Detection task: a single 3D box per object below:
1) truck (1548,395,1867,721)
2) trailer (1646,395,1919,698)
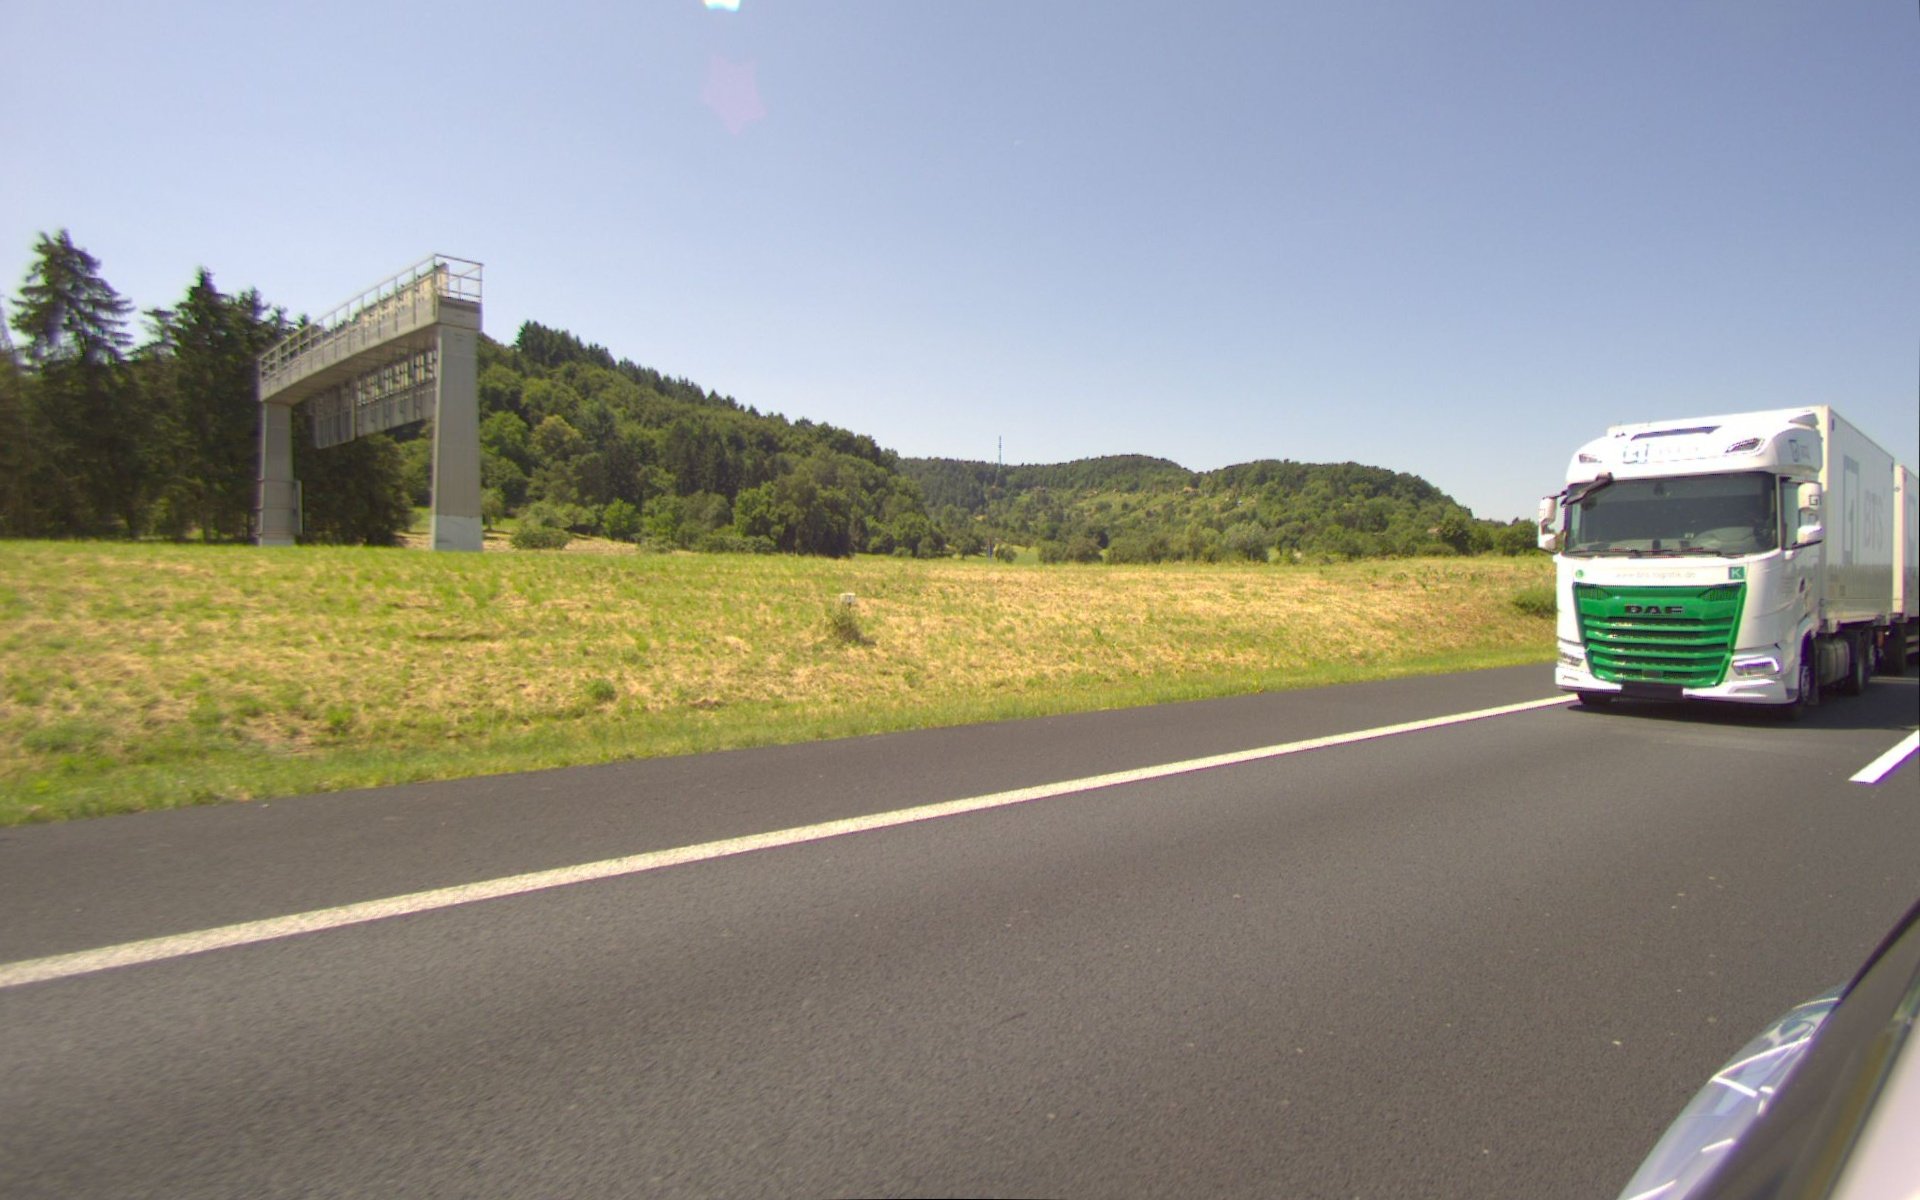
[{"bbox_3d":[10.209,-0.504,13.727,4.328,3.638,2.646,-1,0,-42],"label":"truck"},{"bbox_3d":[17.334,-0.802,20.025,14.636,4.241,2.660,-1,0,-41],"label":"trailer"}]
